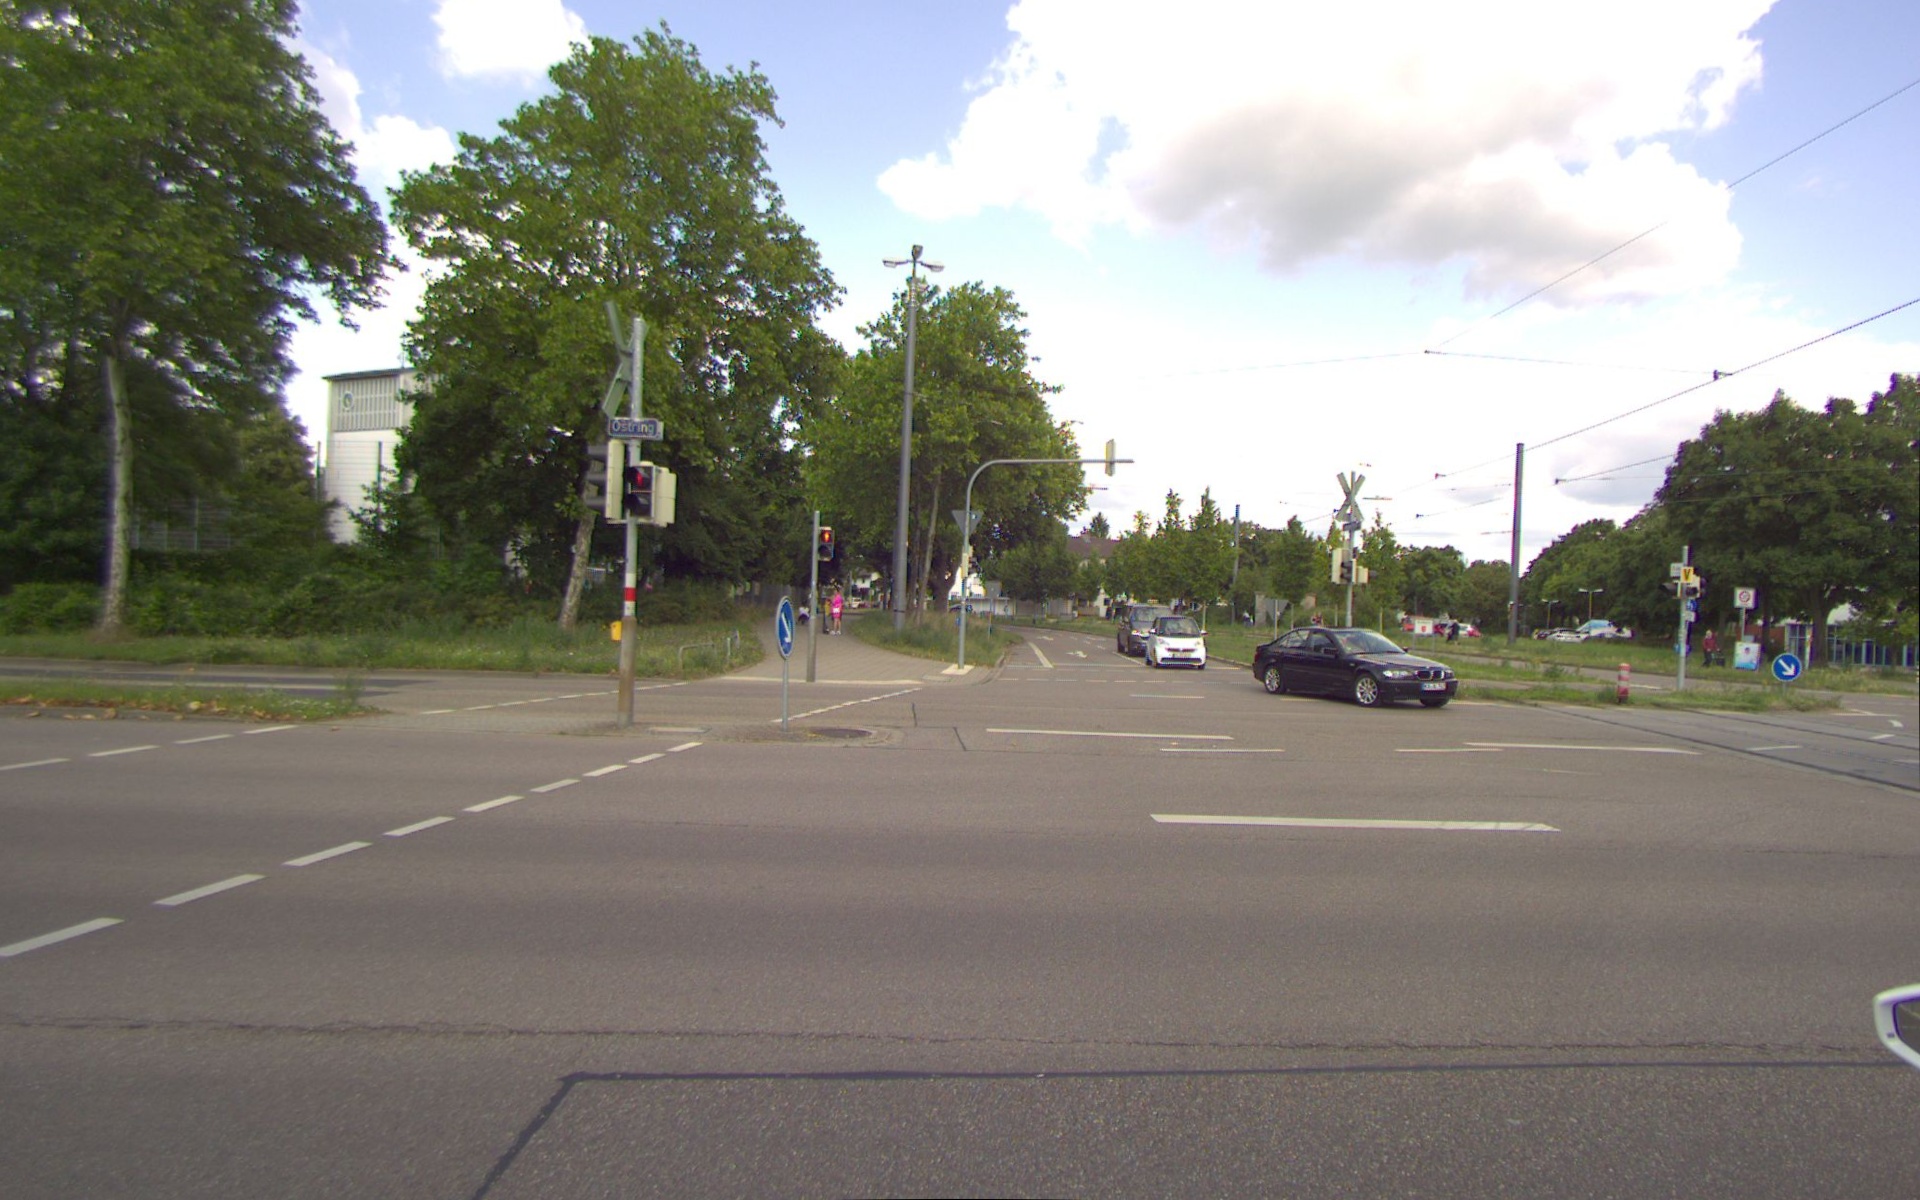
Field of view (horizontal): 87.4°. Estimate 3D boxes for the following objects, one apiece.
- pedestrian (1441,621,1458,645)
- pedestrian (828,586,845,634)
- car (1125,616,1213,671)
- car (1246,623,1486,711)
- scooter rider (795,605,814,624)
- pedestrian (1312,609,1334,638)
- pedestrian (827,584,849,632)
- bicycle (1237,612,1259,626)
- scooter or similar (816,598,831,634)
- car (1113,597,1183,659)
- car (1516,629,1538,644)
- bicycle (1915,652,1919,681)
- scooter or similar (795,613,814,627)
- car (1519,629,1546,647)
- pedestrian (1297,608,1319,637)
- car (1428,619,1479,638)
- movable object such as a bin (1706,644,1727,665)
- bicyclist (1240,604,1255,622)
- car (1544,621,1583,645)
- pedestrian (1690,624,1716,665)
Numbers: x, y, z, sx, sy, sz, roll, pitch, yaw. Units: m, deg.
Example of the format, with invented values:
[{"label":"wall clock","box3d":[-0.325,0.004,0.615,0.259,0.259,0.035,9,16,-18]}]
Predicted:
[{"label":"pedestrian","box3d":[28.930,1.934,59.313,0.638,1.372,0.752,0,0,-1]},{"label":"pedestrian","box3d":[-4.246,0.336,34.547,0.413,1.641,0.596,1,0,8]},{"label":"car","box3d":[6.342,1.271,30.892,1.776,1.450,4.383,2,0,0]},{"label":"car","box3d":[7.526,1.198,19.168,1.783,1.450,4.451,2,-1,-18]},{"label":"scooter rider","box3d":[-6.009,0.565,38.879,0.600,0.738,0.859,0,0,0]},{"label":"pedestrian","box3d":[26.521,1.722,73.413,1.086,2.040,1.175,2,0,-8]},{"label":"pedestrian","box3d":[-4.282,0.288,35.257,0.620,1.641,0.611,1,0,8]},{"label":"bicycle","box3d":[24.483,1.609,85.472,0.935,1.054,1.979,2,0,-13]},{"label":"scooter or similar","box3d":[-4.695,0.545,34.566,0.315,1.248,0.776,0,0,10]},{"label":"car","box3d":[7.161,1.031,38.663,1.819,2.184,4.383,2,0,0]},{"label":"car","box3d":[68.775,4.433,121.856,1.962,1.662,4.387,2,0,24]},{"label":"bicycle","box3d":[38.428,2.653,39.839,0.553,1.145,1.375,2,0,36]},{"label":"scooter or similar","box3d":[-6.012,0.760,38.883,0.599,0.518,0.858,0,0,0]},{"label":"car","box3d":[59.017,3.914,103.523,1.962,1.662,4.387,2,0,24]},{"label":"pedestrian","box3d":[25.388,1.648,73.262,1.086,2.040,1.176,2,0,-7]},{"label":"car","box3d":[43.320,2.488,88.302,3.924,1.550,1.998,2,0,25]},{"label":"movable object such as a bin","box3d":[31.037,2.241,41.223,0.569,0.822,0.458,0,0,-15]},{"label":"bicyclist","box3d":[24.480,1.094,85.497,0.946,1.509,0.834,2,0,-12]},{"label":"car","box3d":[45.062,2.401,75.033,1.962,1.662,4.387,2,0,24]},{"label":"pedestrian","box3d":[30.896,1.842,41.758,0.603,1.666,0.636,0,0,-15]}]
